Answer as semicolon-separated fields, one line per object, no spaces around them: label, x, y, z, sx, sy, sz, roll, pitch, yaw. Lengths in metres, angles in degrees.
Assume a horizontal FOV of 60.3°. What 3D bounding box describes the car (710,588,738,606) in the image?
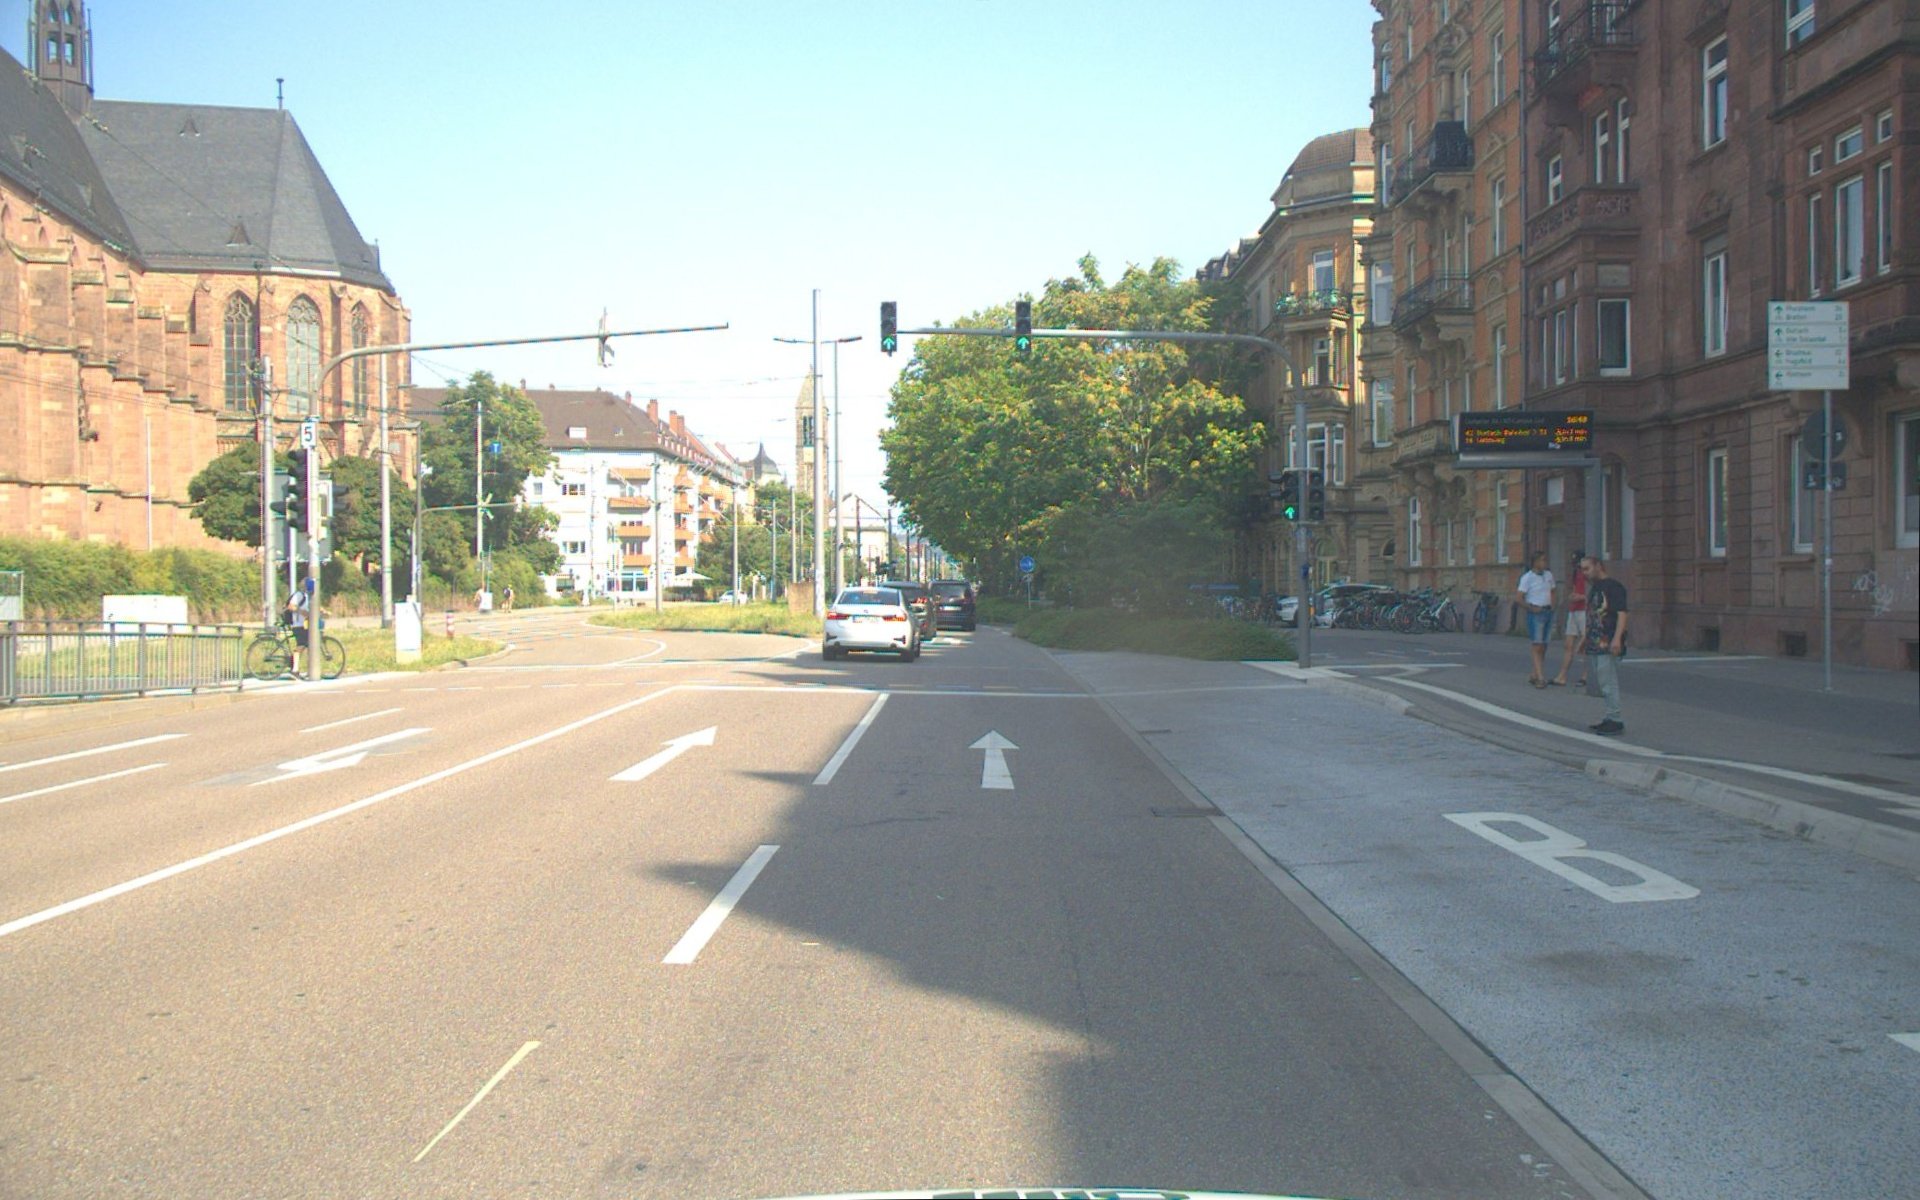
car;-20.857;-0.285;146.167;1.953;1.526;3.999;-1;0;-1

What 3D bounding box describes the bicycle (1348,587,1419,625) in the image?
bicycle;12.051;0.165;47.104;1.890;1.066;0.527;-1;0;-5

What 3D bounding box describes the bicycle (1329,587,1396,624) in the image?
bicycle;12.169;0.163;50.073;1.890;1.066;0.527;-1;0;-5

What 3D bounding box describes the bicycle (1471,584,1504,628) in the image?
bicycle;12.907;0.136;40.513;0.407;1.066;1.671;-1;0;6

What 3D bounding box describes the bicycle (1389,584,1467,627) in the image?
bicycle;12.076;0.137;42.705;1.890;1.066;0.499;-1;0;-5

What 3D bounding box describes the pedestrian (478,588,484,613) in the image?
pedestrian;-29.111;0.036;100.535;0.298;1.544;0.340;-1;0;-4

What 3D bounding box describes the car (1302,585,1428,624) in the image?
car;13.771;0.156;56.338;3.858;1.243;1.546;-1;0;-4

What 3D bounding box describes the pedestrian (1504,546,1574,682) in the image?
pedestrian;7.375;0.176;21.086;0.676;1.693;0.619;-1;0;1

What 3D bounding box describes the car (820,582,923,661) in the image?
car;-1.730;0.373;33.809;1.772;1.452;4.775;1;1;0

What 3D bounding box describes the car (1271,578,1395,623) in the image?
car;13.837;0.018;61.462;4.097;1.590;1.999;-1;0;-4

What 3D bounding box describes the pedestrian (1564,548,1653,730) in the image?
pedestrian;6.012;0.351;15.356;0.517;1.640;0.703;-1;0;-3

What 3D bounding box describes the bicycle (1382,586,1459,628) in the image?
bicycle;12.091;0.183;43.419;1.890;1.066;0.499;-1;0;-5

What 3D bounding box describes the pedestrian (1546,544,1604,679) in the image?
pedestrian;8.082;0.144;21.749;0.471;1.731;0.703;-1;0;-3

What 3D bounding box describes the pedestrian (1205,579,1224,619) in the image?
pedestrian;9.456;-0.047;61.497;0.562;1.479;0.731;-1;0;1

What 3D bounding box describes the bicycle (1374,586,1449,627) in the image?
bicycle;12.280;0.178;45.005;1.890;1.066;0.499;-1;0;-5

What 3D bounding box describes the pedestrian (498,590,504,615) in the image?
pedestrian;-28.545;0.166;102.843;0.298;1.544;0.340;-1;0;-4

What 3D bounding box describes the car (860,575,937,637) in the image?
car;-1.705;0.144;47.198;1.952;1.649;4.357;1;1;1

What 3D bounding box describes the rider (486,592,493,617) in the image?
rider;-27.091;0.273;95.289;0.300;1.456;0.250;-1;0;14

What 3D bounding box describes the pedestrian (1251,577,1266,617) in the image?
pedestrian;11.507;-0.124;63.691;0.435;1.532;0.486;-1;0;-5

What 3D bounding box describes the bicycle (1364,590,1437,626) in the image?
bicycle;12.191;0.223;45.755;1.890;0.967;0.499;-1;0;-5

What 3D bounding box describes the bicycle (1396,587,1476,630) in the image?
bicycle;12.060;0.210;41.956;1.890;1.066;0.499;-1;0;-5

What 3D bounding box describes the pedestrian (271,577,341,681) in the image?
pedestrian;-10.954;0.480;27.707;0.898;1.709;0.602;-1;0;-1

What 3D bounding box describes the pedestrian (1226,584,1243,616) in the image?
pedestrian;10.901;-0.009;65.719;0.585;1.270;0.506;-1;0;0

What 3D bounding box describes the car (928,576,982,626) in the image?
car;-0.148;0.002;57.897;1.794;1.649;4.357;1;1;1

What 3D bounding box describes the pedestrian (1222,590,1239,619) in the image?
pedestrian;10.231;0.153;62.509;0.439;1.089;0.482;-1;0;-30

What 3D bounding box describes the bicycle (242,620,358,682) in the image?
bicycle;-11.051;0.849;27.715;1.723;0.995;0.479;-1;0;-1
